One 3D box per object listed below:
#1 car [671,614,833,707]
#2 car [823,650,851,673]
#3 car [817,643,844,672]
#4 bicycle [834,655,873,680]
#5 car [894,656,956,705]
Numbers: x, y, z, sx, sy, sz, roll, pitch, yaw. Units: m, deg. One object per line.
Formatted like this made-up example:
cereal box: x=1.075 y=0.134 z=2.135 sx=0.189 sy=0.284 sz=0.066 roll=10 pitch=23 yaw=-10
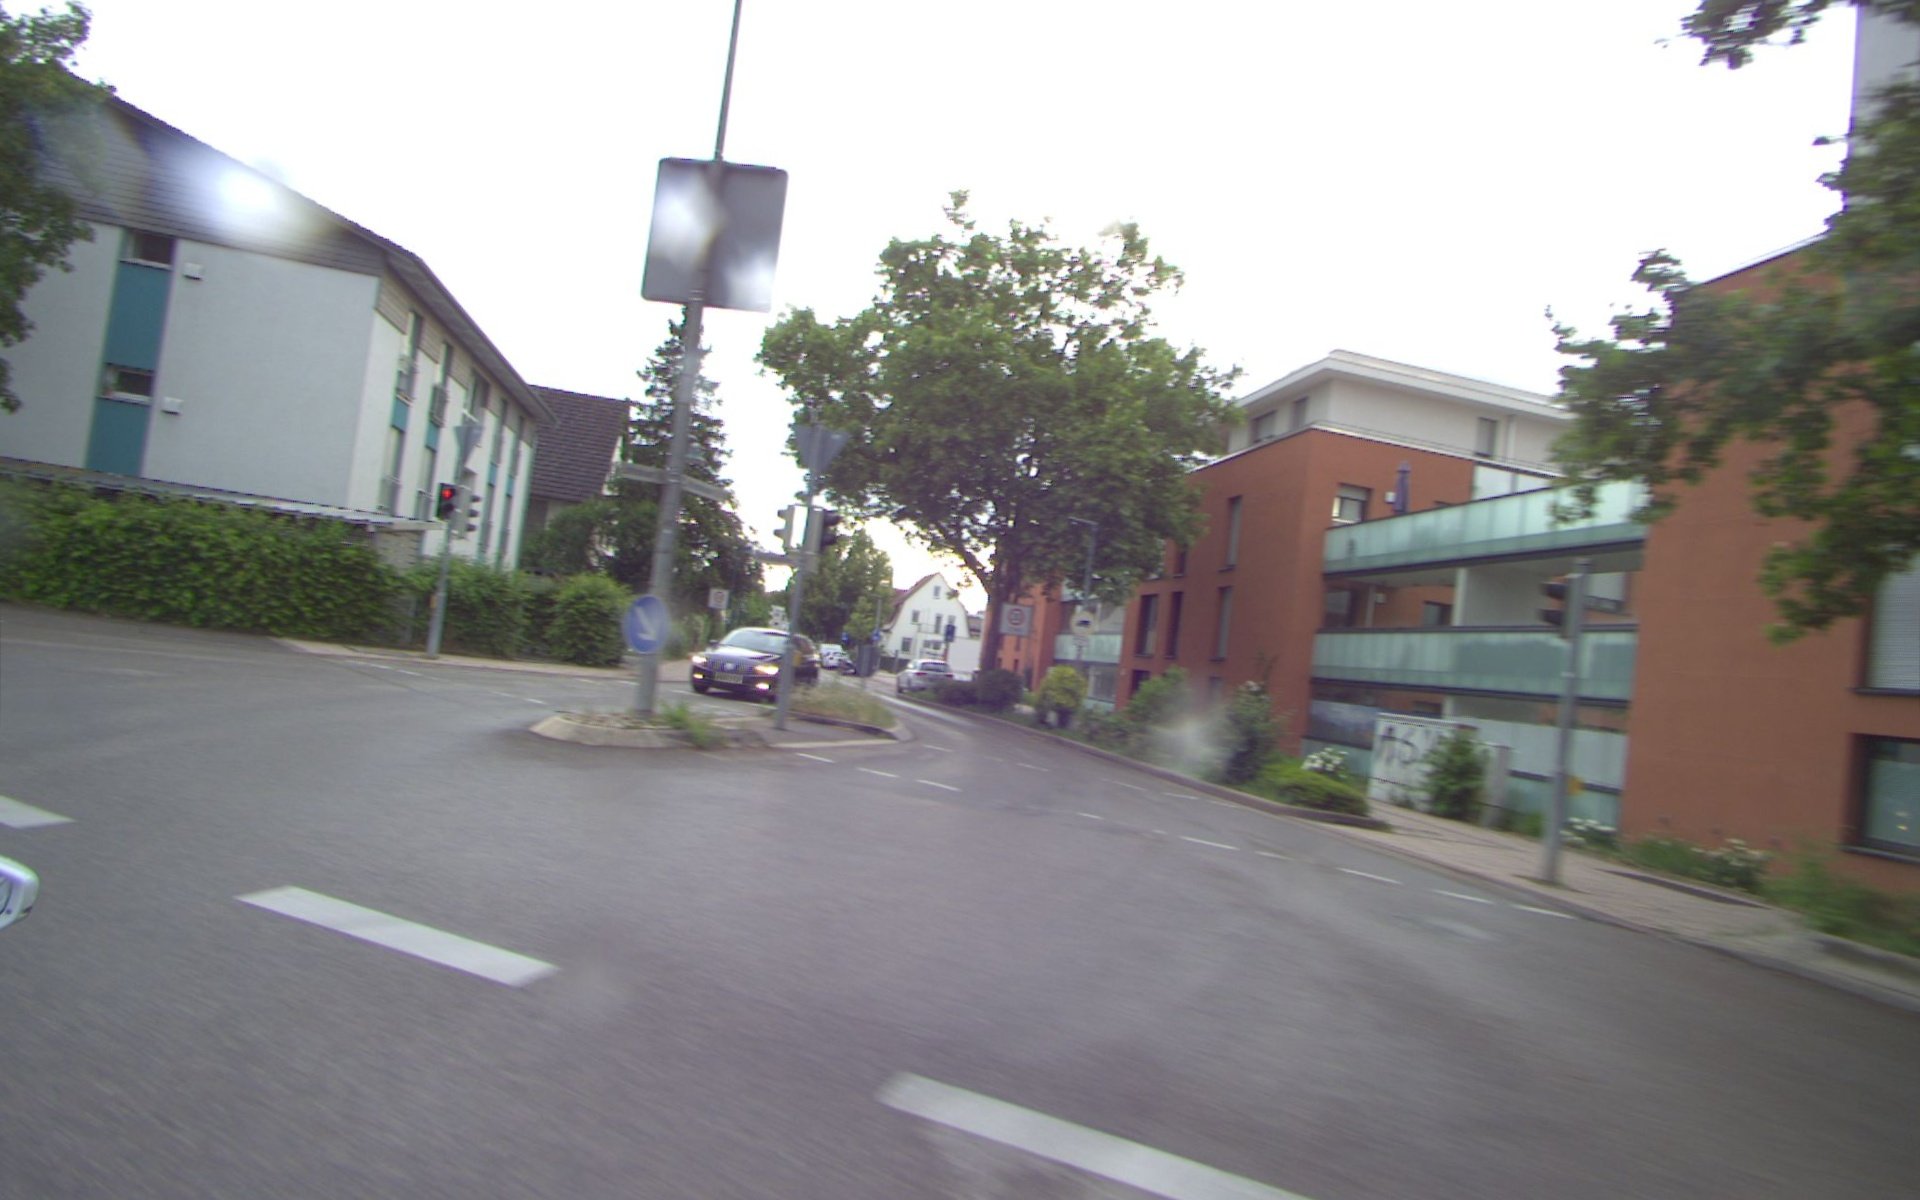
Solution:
car: x=-4.210 y=1.329 z=21.166 sx=1.911 sy=1.466 sz=4.309 roll=9 pitch=-4 yaw=7
car: x=-9.461 y=4.687 z=77.066 sx=1.623 sy=1.390 sz=3.709 roll=9 pitch=-2 yaw=-12
car: x=-10.621 y=4.678 z=82.370 sx=1.623 sy=2.040 sz=3.709 roll=8 pitch=-2 yaw=-12
bicycle: x=-6.741 y=4.292 z=63.839 sx=2.304 sy=1.236 sz=0.737 roll=9 pitch=-1 yaw=-5
car: x=-1.472 y=3.236 z=40.945 sx=1.623 sy=1.529 sz=4.139 roll=9 pitch=-2 yaw=-12
